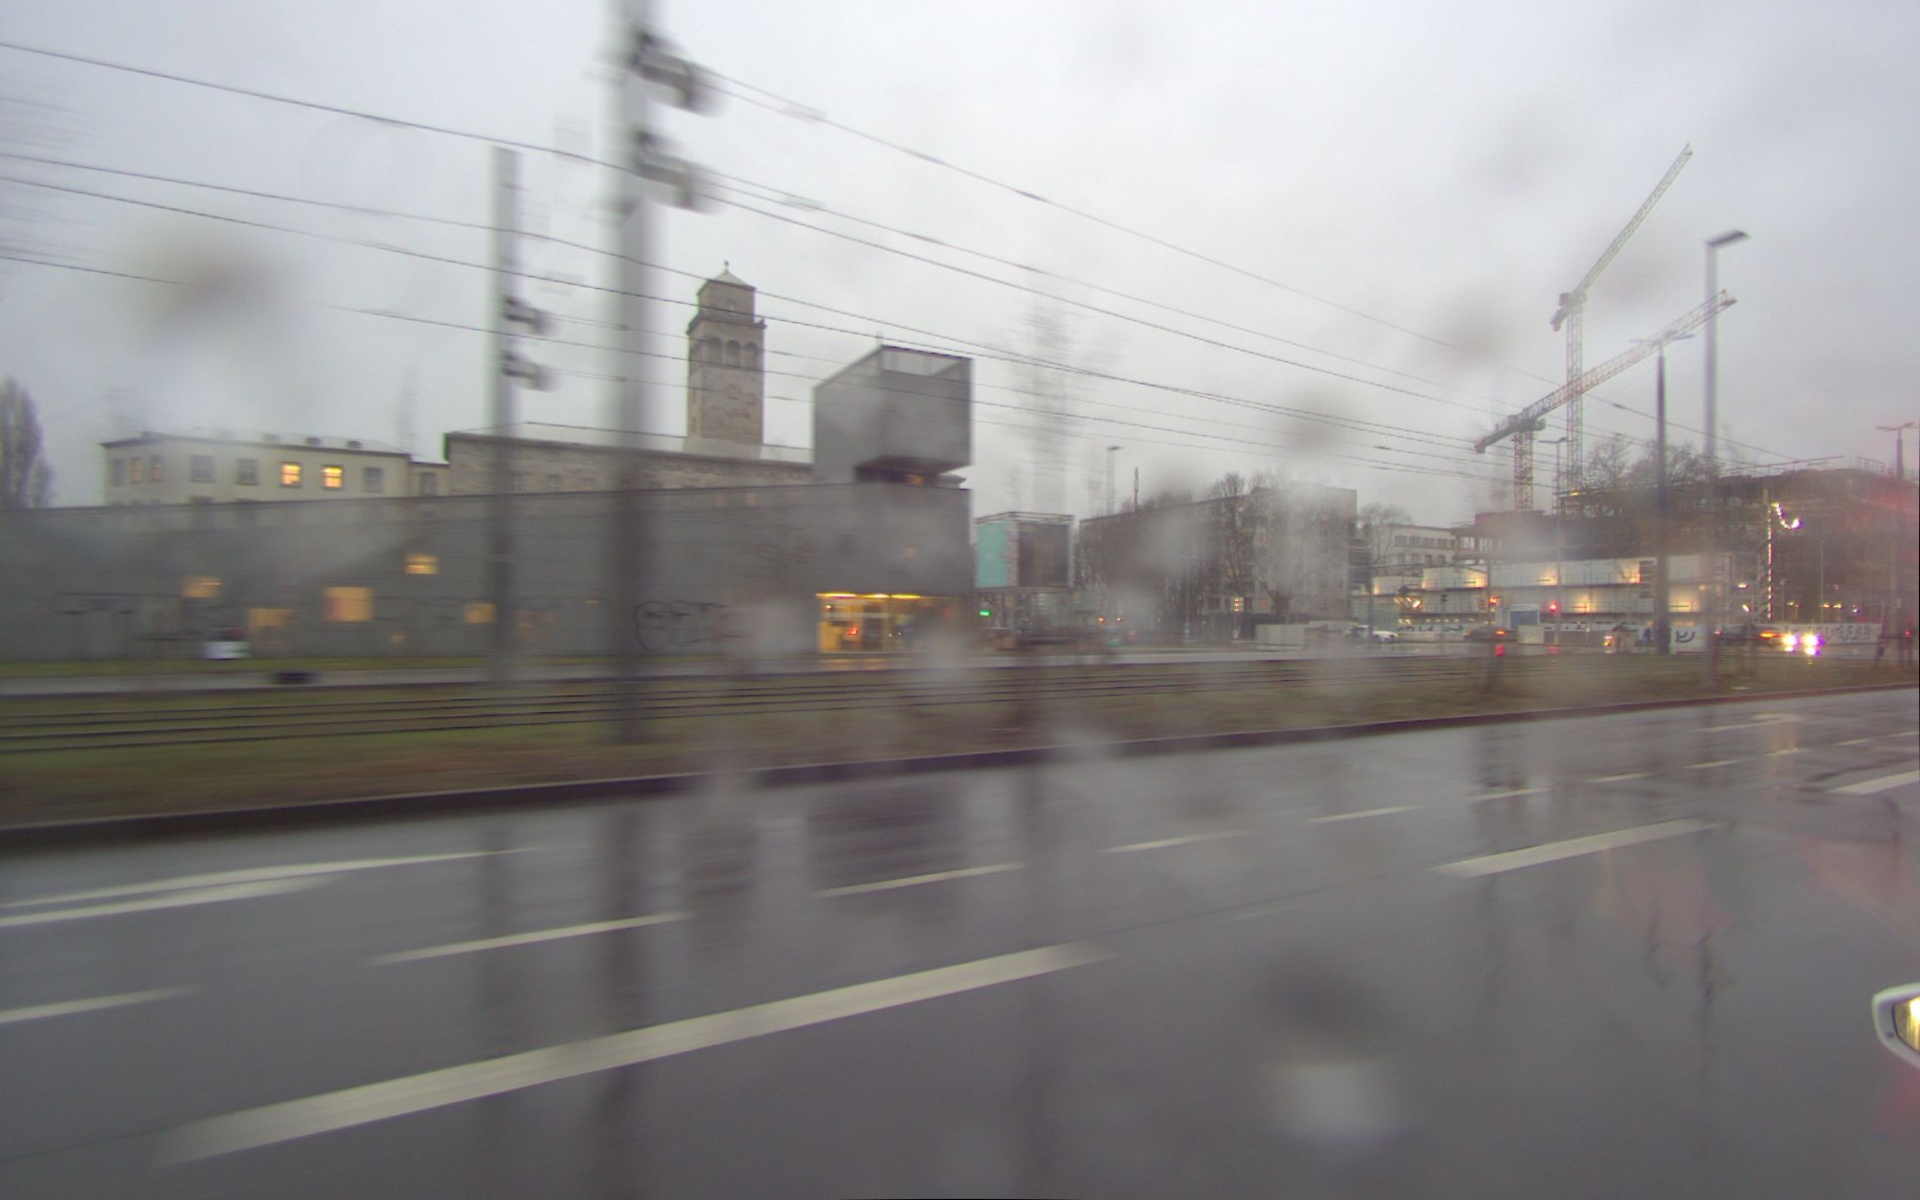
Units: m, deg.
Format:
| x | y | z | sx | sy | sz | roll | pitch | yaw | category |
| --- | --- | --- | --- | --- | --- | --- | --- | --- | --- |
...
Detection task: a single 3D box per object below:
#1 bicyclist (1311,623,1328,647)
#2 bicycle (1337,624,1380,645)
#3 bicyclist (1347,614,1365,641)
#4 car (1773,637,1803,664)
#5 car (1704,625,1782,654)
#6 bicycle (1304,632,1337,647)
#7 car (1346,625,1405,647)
| x | y | z | sx | sy | sz | roll | pitch | yaw | category |
| --- | --- | --- | --- | --- | --- | --- | --- | --- | --- |
| 26.378 | 2.560 | 73.647 | 0.611 | 1.719 | 1.026 | 1 | -1 | -35 | bicyclist |
| 27.688 | 2.391 | 69.824 | 0.714 | 1.380 | 2.809 | 1 | -1 | -38 | bicycle |
| 27.589 | 1.920 | 69.987 | 0.714 | 1.863 | 0.986 | 1 | -2 | -38 | bicyclist |
| 65.854 | 4.014 | 79.867 | 1.736 | 2.040 | 3.979 | -1 | -1 | 42 | car |
| 48.628 | 2.422 | 62.405 | 3.937 | 1.773 | 1.992 | 1 | -1 | -19 | car |
| 26.415 | 2.868 | 73.580 | 0.611 | 1.046 | 2.357 | 1 | -2 | -35 | bicycle |
| 33.071 | 2.871 | 80.088 | 1.978 | 1.706 | 3.966 | 1 | -2 | -32 | car |
